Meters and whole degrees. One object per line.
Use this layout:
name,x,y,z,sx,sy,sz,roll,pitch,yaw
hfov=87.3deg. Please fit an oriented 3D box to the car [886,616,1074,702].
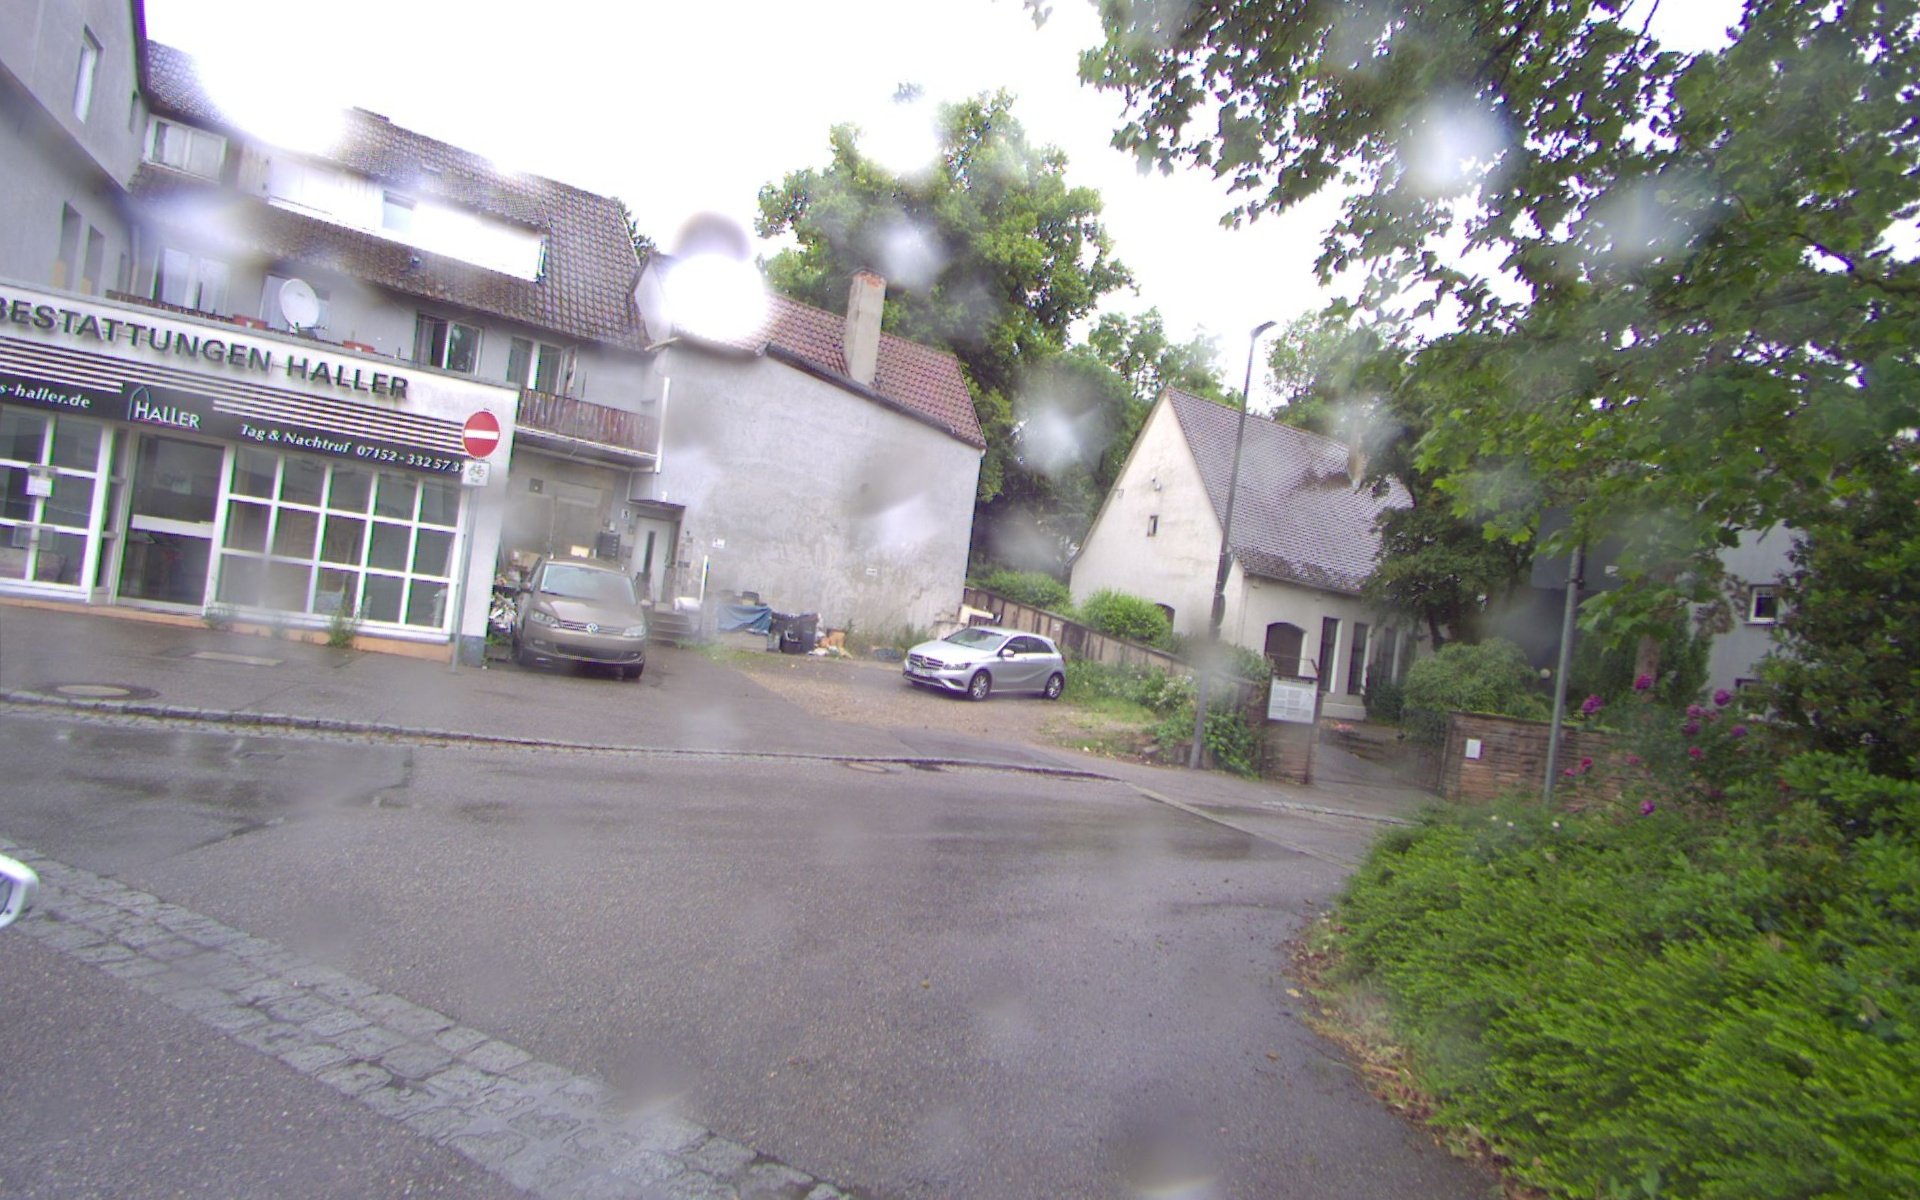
car,0.512,1.300,21.385,1.717,1.406,4.022,10,2,40

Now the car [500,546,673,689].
car,-6.279,0.170,16.553,1.909,1.749,4.634,8,0,-28
